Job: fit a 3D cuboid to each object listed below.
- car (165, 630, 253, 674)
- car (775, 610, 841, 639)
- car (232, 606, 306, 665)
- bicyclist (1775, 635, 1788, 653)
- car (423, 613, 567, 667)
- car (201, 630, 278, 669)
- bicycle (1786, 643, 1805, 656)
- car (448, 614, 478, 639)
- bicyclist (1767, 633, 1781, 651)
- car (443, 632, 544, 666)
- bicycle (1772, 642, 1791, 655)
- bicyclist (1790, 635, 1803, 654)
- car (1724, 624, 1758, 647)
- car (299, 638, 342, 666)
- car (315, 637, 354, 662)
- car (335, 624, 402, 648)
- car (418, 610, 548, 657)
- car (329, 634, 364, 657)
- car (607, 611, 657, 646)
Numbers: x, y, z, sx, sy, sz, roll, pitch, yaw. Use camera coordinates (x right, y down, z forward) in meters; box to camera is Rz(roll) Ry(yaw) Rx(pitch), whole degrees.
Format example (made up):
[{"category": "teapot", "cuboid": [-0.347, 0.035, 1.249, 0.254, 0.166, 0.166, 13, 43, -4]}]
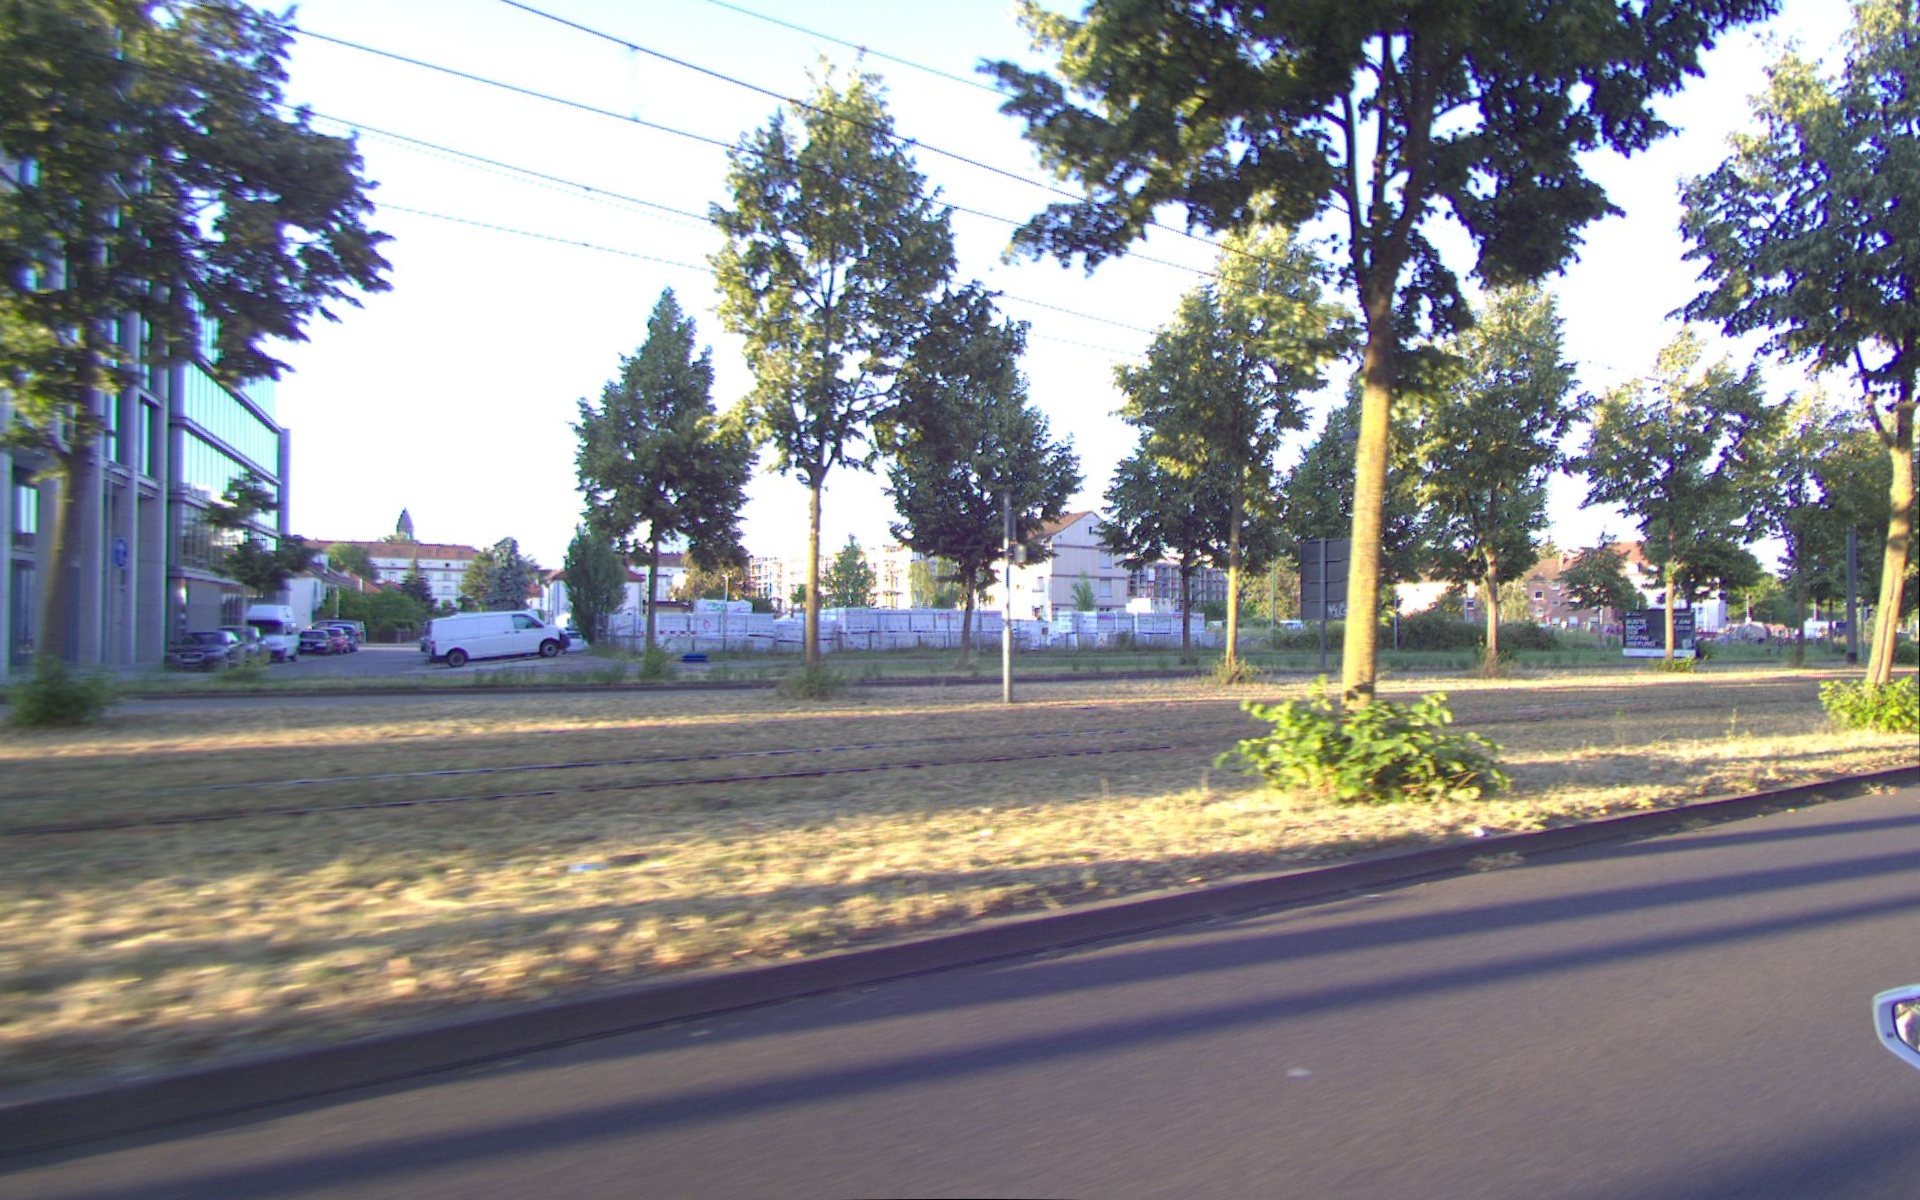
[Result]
[{"category": "car", "cuboid": [-26.953, 1.838, 36.182, 1.870, 1.465, 3.972, 1, -2, -27]}, {"category": "car", "cuboid": [-10.689, 1.752, 70.755, 4.264, 2.008, 1.788, 1, -2, -32]}, {"category": "car", "cuboid": [-31.528, 1.592, 45.997, 1.947, 2.500, 5.464, 1, -2, -26]}, {"category": "bicyclist", "cuboid": [68.208, 3.610, 83.383, 0.927, 1.475, 0.616, 2, -1, -33]}, {"category": "car", "cuboid": [-18.582, 1.598, 40.188, 5.025, 2.040, 2.196, 1, -2, -31]}, {"category": "car", "cuboid": [-29.024, 1.975, 40.584, 1.869, 1.465, 3.974, 1, -2, -26]}, {"category": "bicycle", "cuboid": [68.779, 4.079, 82.668, 2.060, 1.024, 0.615, 2, -2, -33]}, {"category": "car", "cuboid": [-48.945, 2.634, 98.960, 2.263, 2.383, 6.166, 1, -1, -23]}, {"category": "bicyclist", "cuboid": [66.489, 3.452, 82.021, 0.927, 1.440, 0.616, 2, -1, -33]}, {"category": "car", "cuboid": [-20.996, 2.167, 45.197, 3.953, 1.437, 1.984, 1, -2, -31]}, {"category": "bicycle", "cuboid": [68.129, 4.046, 83.328, 2.060, 1.024, 0.615, 2, -2, -33]}, {"category": "bicyclist", "cuboid": [68.932, 3.665, 82.765, 0.927, 1.475, 0.616, 2, -1, -33]}, {"category": "car", "cuboid": [77.968, 3.554, 100.345, 2.384, 2.254, 5.899, 0, -2, 35]}, {"category": "car", "cuboid": [-36.838, 2.979, 57.950, 1.667, 1.465, 3.819, 1, -2, -27]}, {"category": "car", "cuboid": [-39.326, 3.106, 63.217, 1.667, 1.465, 3.819, 1, -2, -27]}, {"category": "car", "cuboid": [-52.684, 3.216, 89.538, 5.011, 2.040, 1.982, 1, -2, -34]}, {"category": "car", "cuboid": [-30.042, 2.132, 63.372, 7.227, 2.802, 2.456, 1, -2, -31]}, {"category": "car", "cuboid": [-41.582, 3.042, 68.135, 1.667, 1.465, 3.819, 1, -2, -27]}, {"category": "car", "cuboid": [-26.336, 2.283, 80.502, 2.291, 2.718, 6.160, 1, -2, -33]}]
